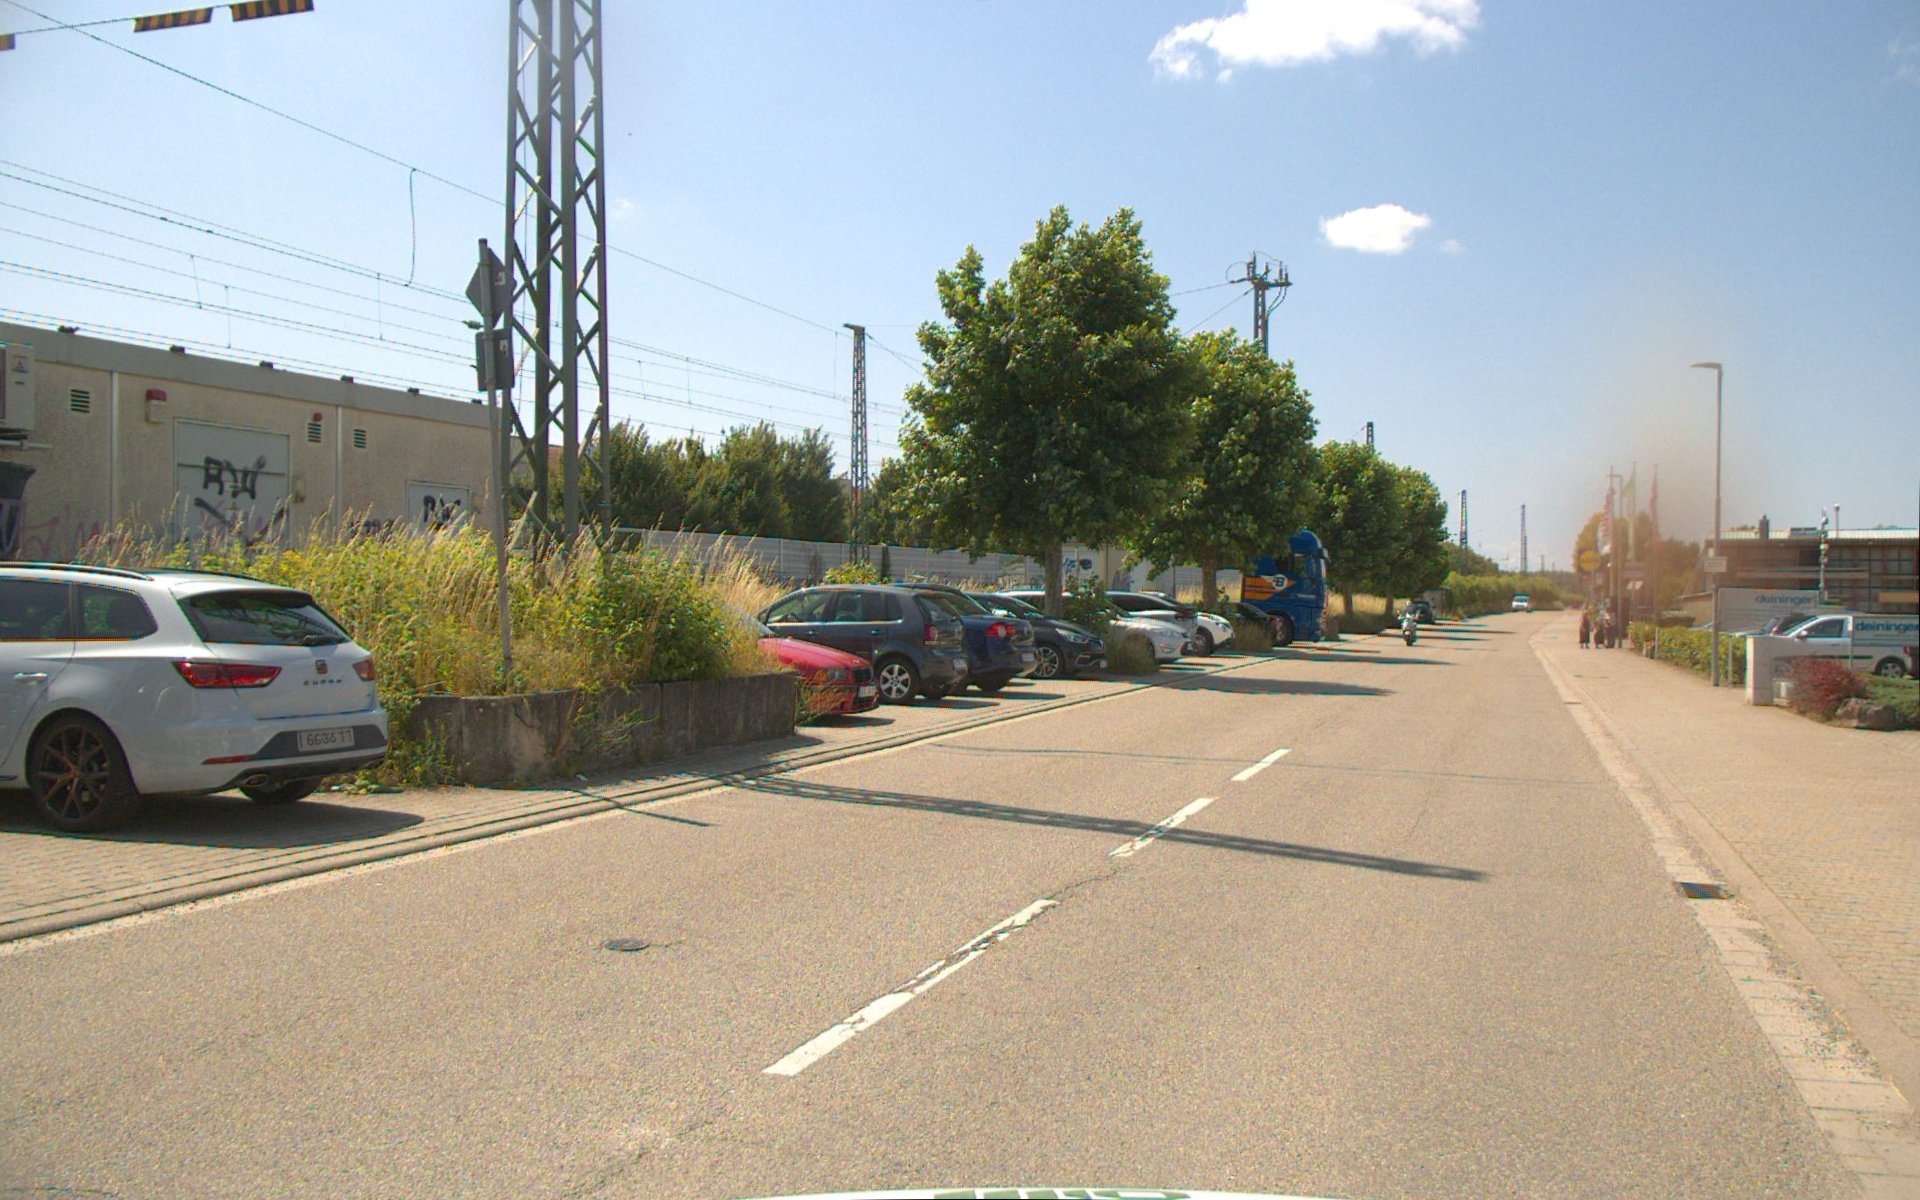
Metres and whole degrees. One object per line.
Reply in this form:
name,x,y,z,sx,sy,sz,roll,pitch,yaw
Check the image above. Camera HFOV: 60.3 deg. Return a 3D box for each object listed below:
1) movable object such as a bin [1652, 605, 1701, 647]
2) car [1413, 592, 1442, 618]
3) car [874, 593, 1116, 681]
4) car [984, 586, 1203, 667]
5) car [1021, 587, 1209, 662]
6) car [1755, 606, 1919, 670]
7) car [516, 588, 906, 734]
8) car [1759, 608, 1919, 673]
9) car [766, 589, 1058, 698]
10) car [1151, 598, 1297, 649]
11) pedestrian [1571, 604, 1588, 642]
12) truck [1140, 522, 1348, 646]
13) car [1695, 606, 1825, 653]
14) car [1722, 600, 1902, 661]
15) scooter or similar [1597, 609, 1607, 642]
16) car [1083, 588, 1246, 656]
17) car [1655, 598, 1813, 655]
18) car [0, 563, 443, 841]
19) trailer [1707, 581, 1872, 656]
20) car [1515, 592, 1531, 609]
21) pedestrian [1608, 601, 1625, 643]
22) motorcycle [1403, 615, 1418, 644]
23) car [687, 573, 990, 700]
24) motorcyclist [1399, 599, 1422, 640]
movable object such as a bin,26.695,0.962,61.631,1.244,1.483,1.044,2,1,-18
car,30.833,0.320,109.028,1.705,1.624,3.581,1,1,18
car,0.638,0.629,29.552,3.988,1.498,1.787,0,0,19
car,2.823,0.525,34.877,4.247,1.559,1.927,1,1,19
car,3.535,0.537,37.460,3.903,1.575,2.001,1,0,17
car,20.455,0.857,38.588,3.284,1.426,1.770,0,0,21
car,-2.767,0.615,18.449,3.988,1.392,1.674,1,2,19
car,22.171,0.982,40.569,4.379,1.465,1.816,1,0,16
car,-0.692,0.587,24.112,3.865,1.475,1.786,0,0,23
car,8.023,0.688,50.196,4.120,1.419,1.873,1,0,17
pedestrian,23.651,0.889,63.128,0.553,1.430,0.584,-1,-2,18
truck,9.360,-0.507,54.366,6.474,3.890,2.665,0,0,17
car,27.013,0.973,55.944,3.766,1.481,1.818,1,0,20
car,22.668,0.832,44.155,3.947,1.602,1.715,0,-2,14
scooter or similar,24.412,0.977,62.933,0.327,1.219,0.398,-1,-2,19
car,5.256,0.529,42.343,3.886,1.646,1.852,1,0,16
car,23.451,0.826,50.261,4.124,1.662,1.801,0,-2,18
car,-5.420,0.500,10.067,3.987,1.426,1.788,1,0,16
trailer,23.408,0.518,46.833,3.903,2.049,2.001,0,0,18
car,67.321,0.063,197.828,1.800,1.890,4.485,1,0,19
pedestrian,24.875,0.835,62.676,0.523,1.567,0.511,-1,-2,18
motorcycle,17.031,1.118,62.474,0.453,1.069,1.956,1,0,18
car,-1.580,0.439,21.874,3.589,1.473,1.685,2,1,17
motorcyclist,17.040,0.742,62.529,0.759,1.535,0.921,1,0,19
